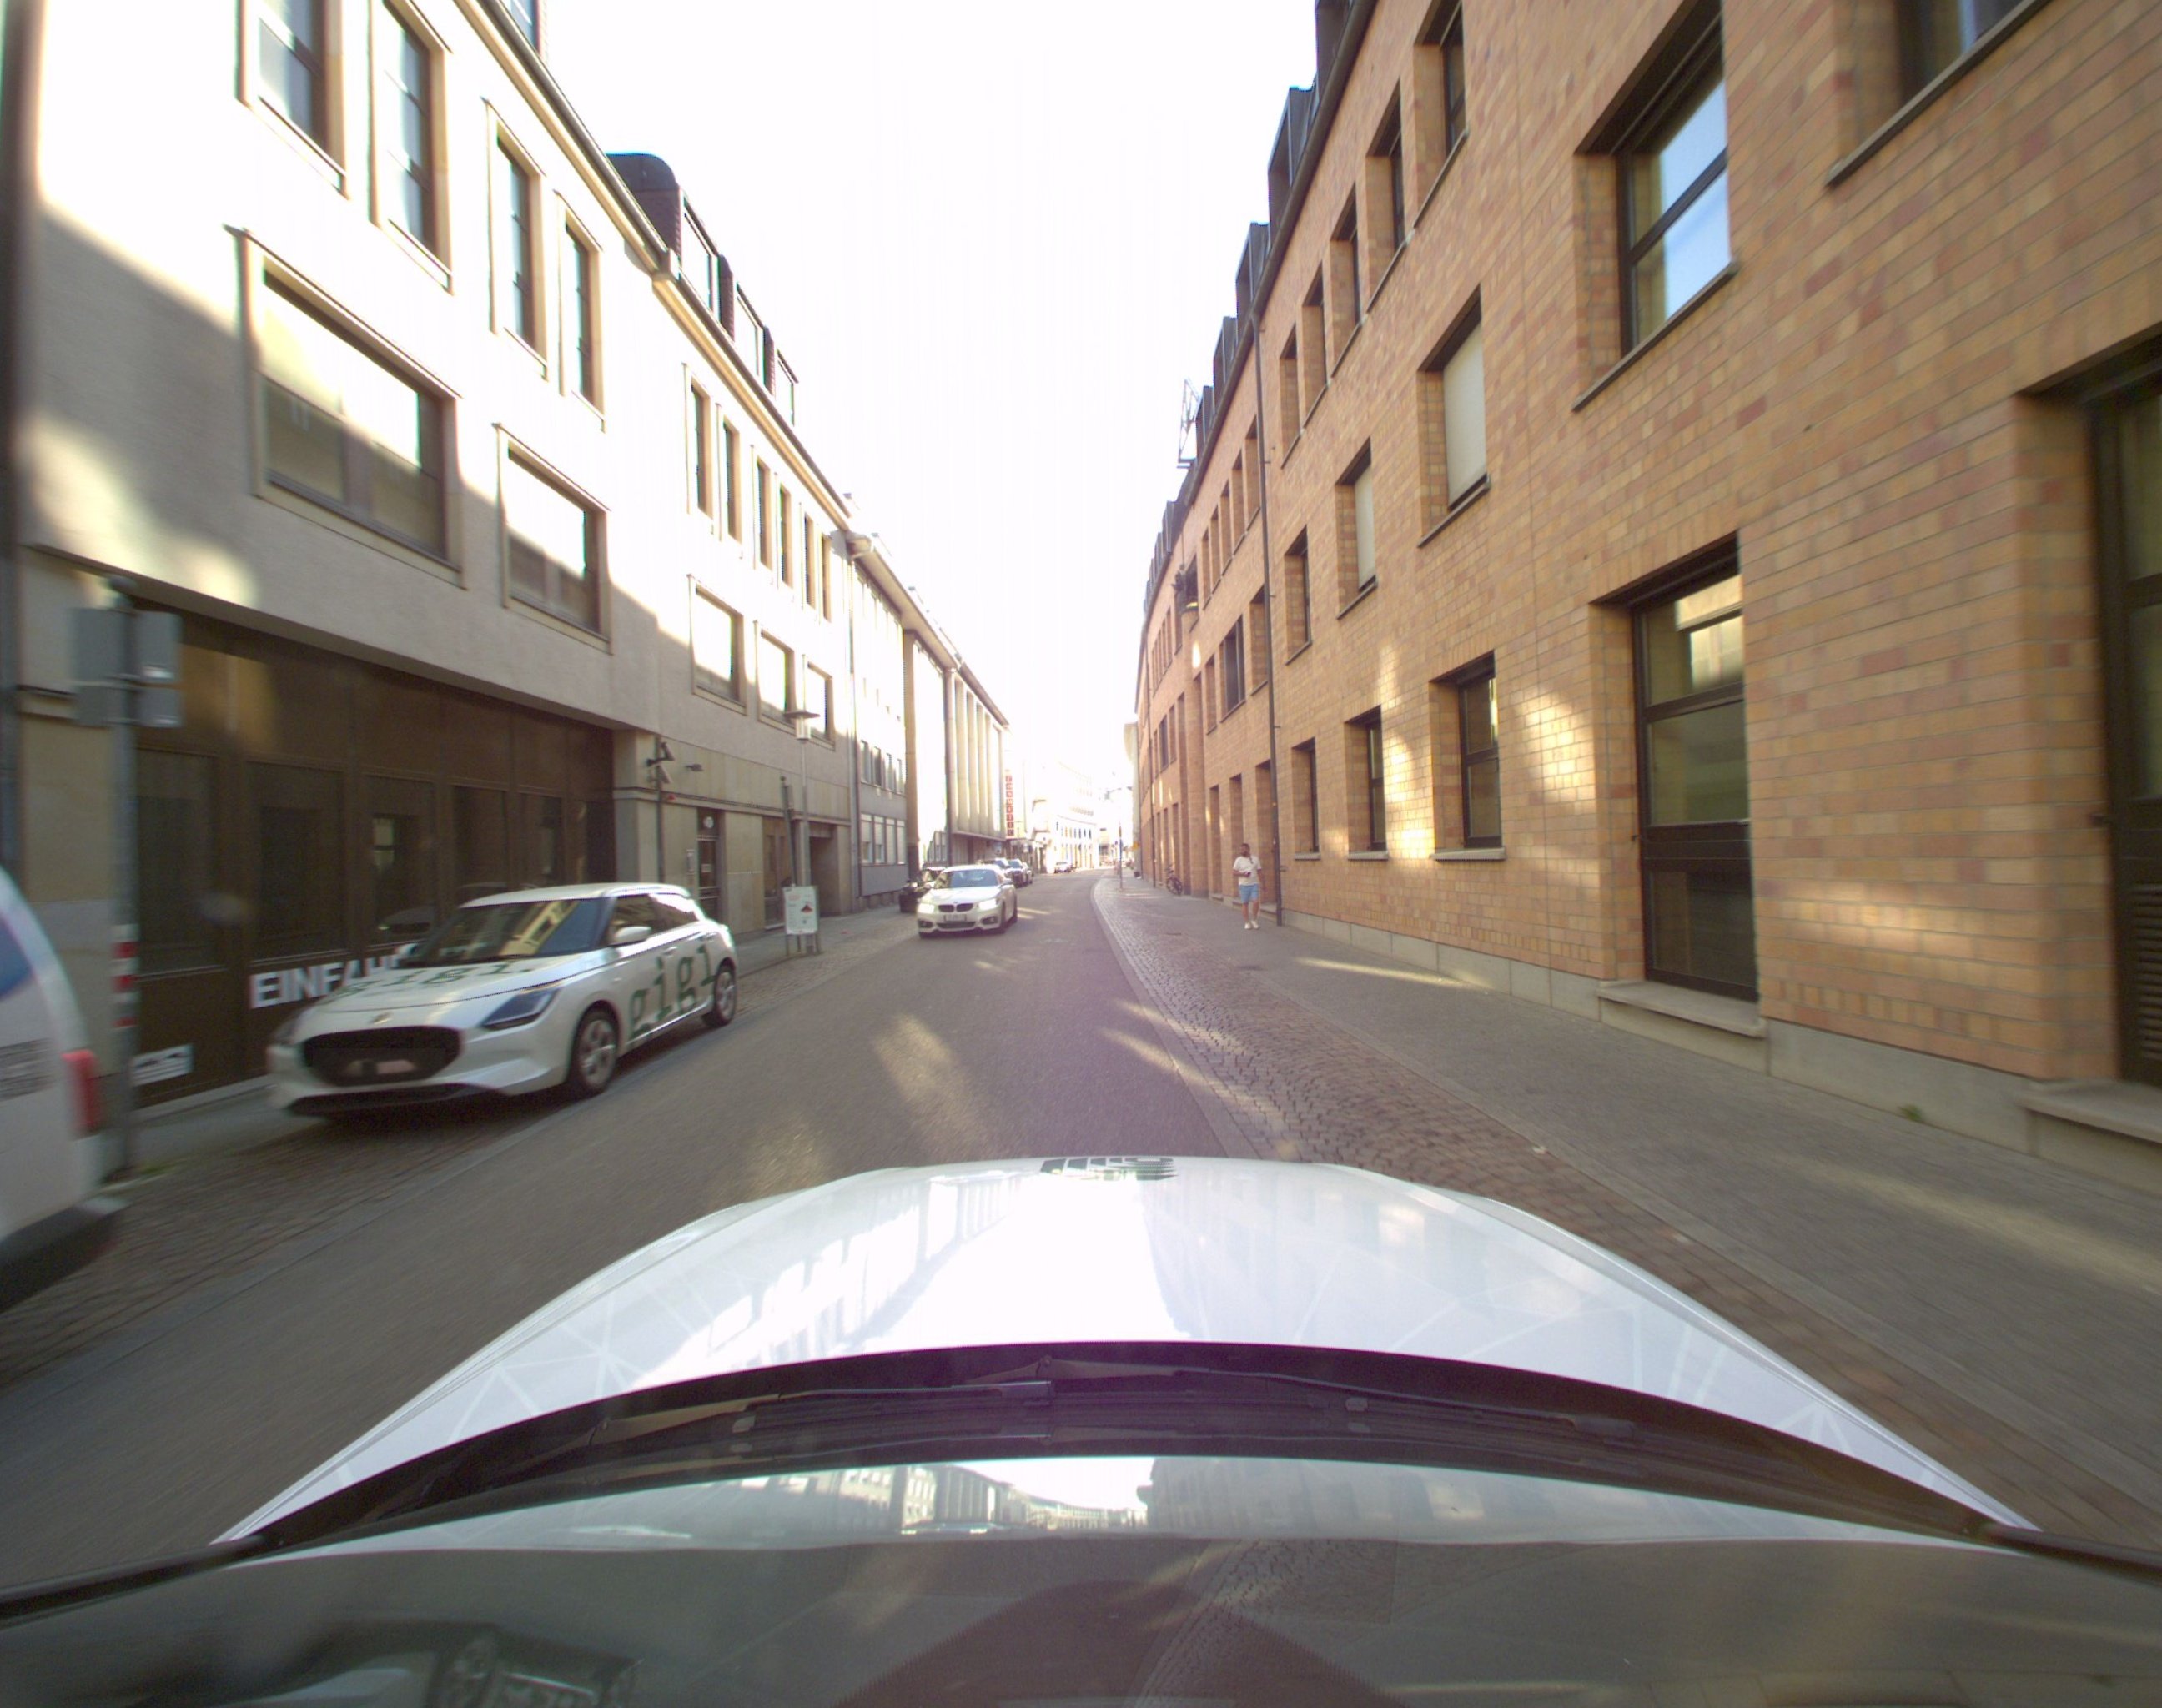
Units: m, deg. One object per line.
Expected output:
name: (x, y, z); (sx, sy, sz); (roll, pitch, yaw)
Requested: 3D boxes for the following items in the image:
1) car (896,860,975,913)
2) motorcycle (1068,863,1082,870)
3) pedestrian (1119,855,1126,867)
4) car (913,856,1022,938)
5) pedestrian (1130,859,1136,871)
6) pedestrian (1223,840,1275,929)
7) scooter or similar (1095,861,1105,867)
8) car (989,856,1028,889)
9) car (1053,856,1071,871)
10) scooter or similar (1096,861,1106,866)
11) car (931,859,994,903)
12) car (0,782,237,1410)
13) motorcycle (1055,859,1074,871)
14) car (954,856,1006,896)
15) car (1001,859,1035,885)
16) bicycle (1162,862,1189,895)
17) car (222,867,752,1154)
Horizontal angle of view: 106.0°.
car: (-4.829, 1.030, 27.660); (1.885, 1.530, 4.726); (-2, 0, -1)
motorcycle: (-0.715, 1.551, 100.594); (1.682, 0.859, 0.595); (0, -1, 7)
pedestrian: (6.156, 1.026, 121.268); (0.663, 1.869, 0.754); (1, -2, -28)
car: (-2.358, 0.841, 17.908); (1.709, 1.517, 4.160); (-2, 0, 0)
pedestrian: (8.071, 1.681, 126.430); (0.663, 1.869, 0.779); (1, -2, -28)
pedestrian: (3.396, 0.597, 16.496); (0.758, 1.716, 0.821); (-4, 0, -2)
scooter or similar: (3.148, 1.648, 134.972); (0.520, 0.928, 2.242); (-1, 0, 32)
car: (-4.154, 1.043, 47.306); (1.885, 1.742, 4.388); (-2, 0, -1)
car: (-2.147, 1.091, 92.932); (1.729, 1.606, 3.535); (-1, 0, 3)
scooter or similar: (3.428, 1.617, 138.791); (0.520, 0.928, 2.242); (-1, 0, 32)
car: (-4.649, 1.019, 32.441); (1.885, 1.530, 4.337); (-2, 0, -1)
car: (-4.083, 0.759, 0.677); (1.895, 1.857, 4.728); (-3, 0, -3)
motorcycle: (-2.110, 1.421, 103.856); (2.381, 1.317, 0.862); (-3, 0, 2)
car: (-4.616, 0.980, 37.974); (1.885, 1.675, 4.551); (-2, 0, -1)
car: (-4.022, 1.114, 52.530); (1.642, 1.460, 4.001); (-4, -1, 2)
bicycle: (3.426, 0.867, 29.595); (0.548, 1.103, 1.979); (-5, 0, -4)
car: (-4.268, 0.945, 6.717); (1.666, 1.522, 3.770); (-4, 0, -4)
